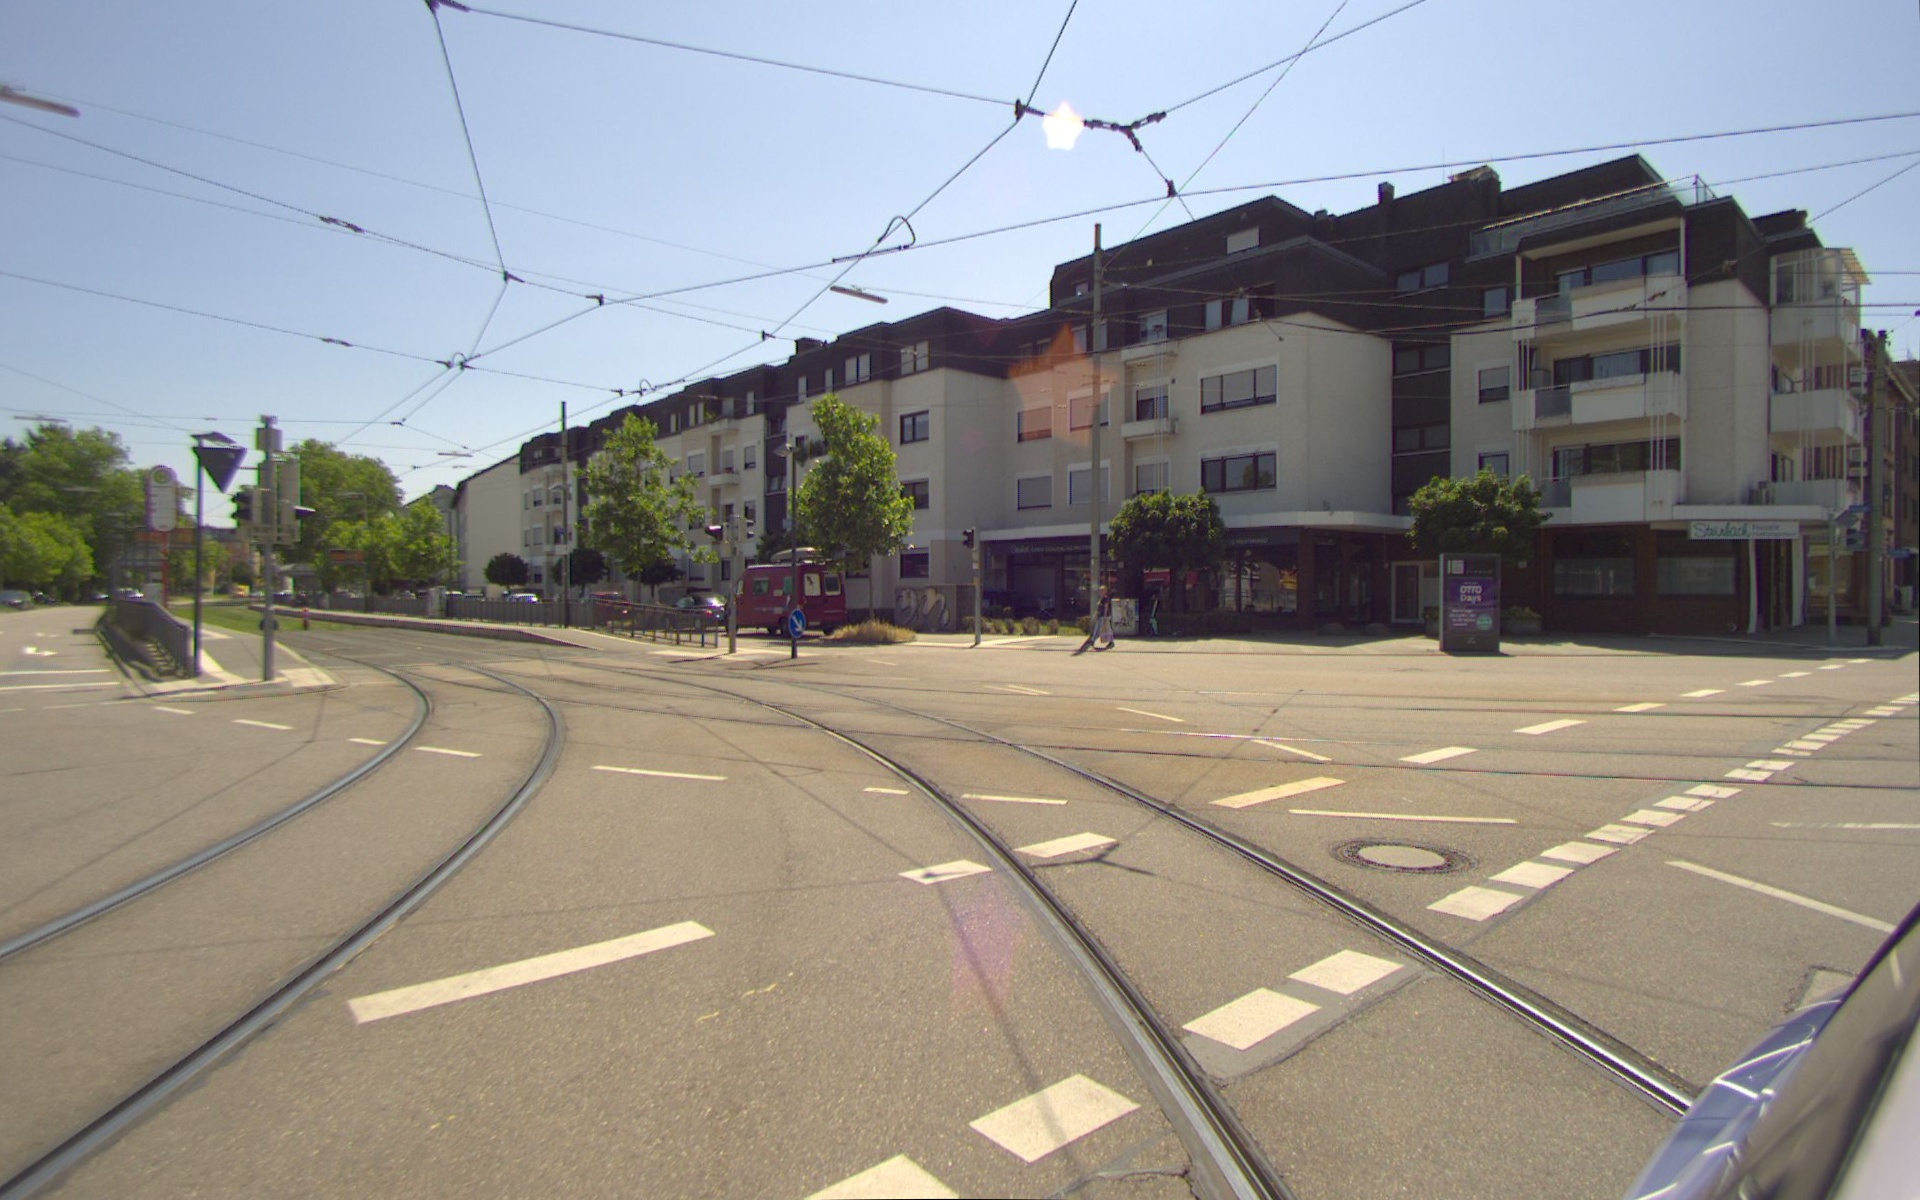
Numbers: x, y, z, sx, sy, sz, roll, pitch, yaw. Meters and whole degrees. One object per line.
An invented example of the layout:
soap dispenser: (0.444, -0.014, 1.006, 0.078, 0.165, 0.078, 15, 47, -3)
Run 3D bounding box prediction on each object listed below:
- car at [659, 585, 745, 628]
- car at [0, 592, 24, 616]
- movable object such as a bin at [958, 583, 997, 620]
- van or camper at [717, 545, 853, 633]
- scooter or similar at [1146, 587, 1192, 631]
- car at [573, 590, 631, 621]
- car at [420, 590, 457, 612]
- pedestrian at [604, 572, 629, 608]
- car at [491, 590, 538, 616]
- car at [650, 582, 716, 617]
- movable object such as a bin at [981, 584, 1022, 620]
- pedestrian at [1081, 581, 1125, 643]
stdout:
car: (-10.039, 0.221, 39.273, 1.650, 1.567, 3.798, -1, 1, -42)
car: (-69.733, 0.281, 73.737, 3.986, 1.683, 1.969, 0, 1, 44)
movable object such as a bin: (0.702, 0.053, 40.420, 1.174, 1.424, 1.057, -1, 0, -43)
van or camper: (-6.115, -0.380, 34.845, 2.171, 2.800, 5.229, 0, 0, -42)
scooter or similar: (5.991, 0.259, 28.998, 1.241, 1.228, 0.391, 0, 0, 23)
car: (-16.612, 0.241, 46.927, 1.426, 1.398, 3.358, -1, 1, -40)
car: (-33.990, 0.047, 65.980, 1.426, 1.371, 3.358, -1, 1, -40)
pedestrian: (-17.750, -0.528, 52.285, 0.911, 1.854, 1.074, -1, 0, -42)
car: (-24.200, 0.156, 54.907, 1.426, 1.371, 3.358, 0, 0, -40)
car: (-13.555, -0.046, 49.469, 1.625, 1.629, 3.645, -1, 1, -42)
movable object such as a bin: (1.669, 0.062, 41.103, 1.045, 1.424, 1.319, -1, 0, -43)
pedestrian: (3.748, 0.299, 26.523, 0.809, 1.603, 0.830, 0, 0, -28)
